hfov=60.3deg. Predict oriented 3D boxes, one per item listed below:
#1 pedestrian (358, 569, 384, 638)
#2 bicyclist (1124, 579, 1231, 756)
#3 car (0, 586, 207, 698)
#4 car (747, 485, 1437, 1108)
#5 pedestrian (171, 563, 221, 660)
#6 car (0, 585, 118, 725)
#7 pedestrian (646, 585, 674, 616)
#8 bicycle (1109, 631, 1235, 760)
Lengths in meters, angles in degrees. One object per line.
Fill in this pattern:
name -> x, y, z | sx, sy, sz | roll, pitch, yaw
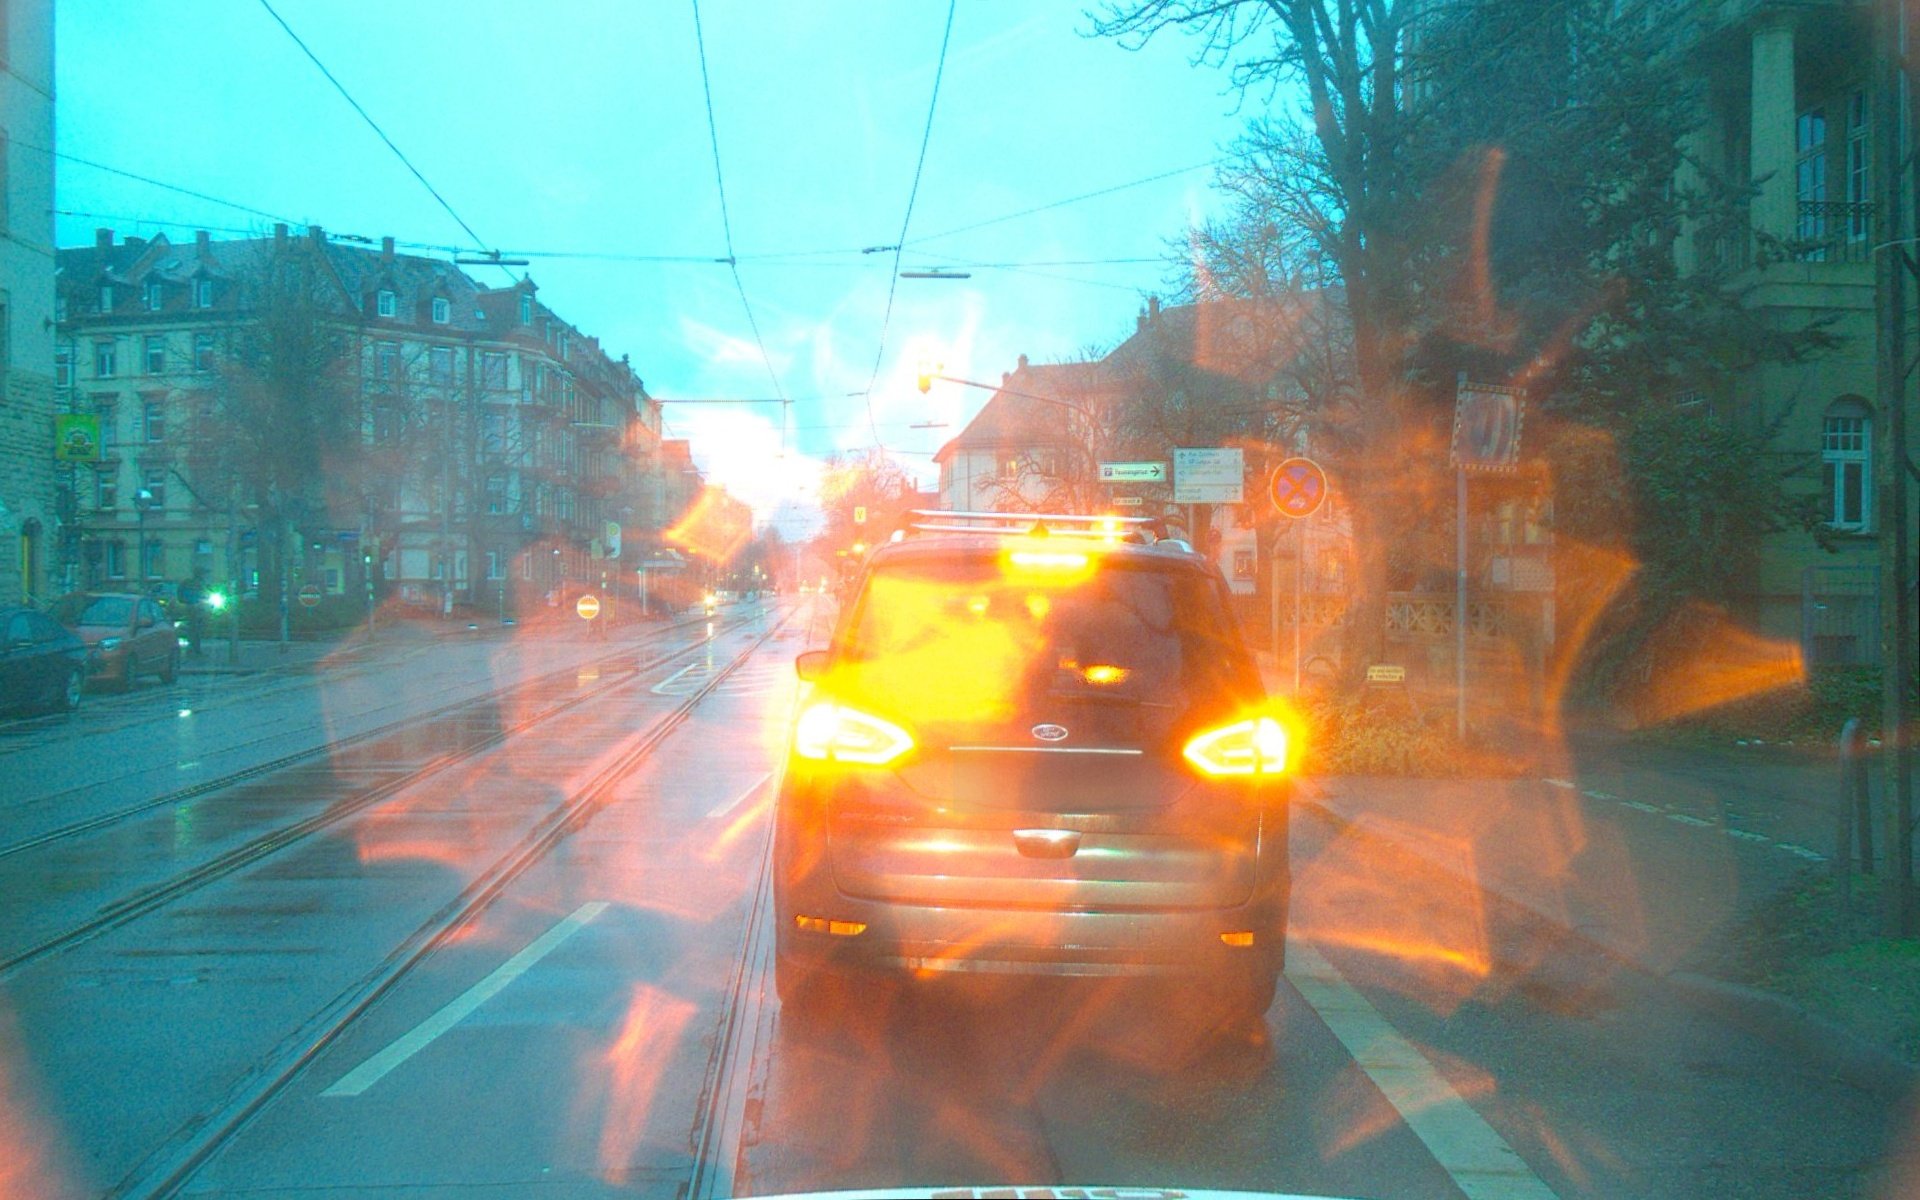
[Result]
pedestrian -> -17.658, 0.090, 49.579 | 0.695, 2.049, 0.656 | 0, 0, -24
bicyclist -> 2.172, 0.654, 16.620 | 0.703, 1.691, 1.054 | 4, 0, -9
car -> -14.277, 0.635, 27.658 | 2.000, 1.578, 4.023 | 4, 0, -9
car -> 0.319, 0.589, 7.366 | 2.061, 1.848, 4.658 | 2, 0, -2
pedestrian -> -16.235, 0.240, 35.137 | 0.742, 2.049, 0.646 | 0, -1, 32
car -> -13.136, 0.659, 21.896 | 1.949, 1.674, 4.624 | 5, -1, -7
pedestrian -> -12.299, 0.021, 67.863 | 1.027, 1.221, 0.884 | 1, 0, -4
bicycle -> 2.121, 0.937, 16.811 | 0.703, 1.131, 1.938 | 4, 0, -9
